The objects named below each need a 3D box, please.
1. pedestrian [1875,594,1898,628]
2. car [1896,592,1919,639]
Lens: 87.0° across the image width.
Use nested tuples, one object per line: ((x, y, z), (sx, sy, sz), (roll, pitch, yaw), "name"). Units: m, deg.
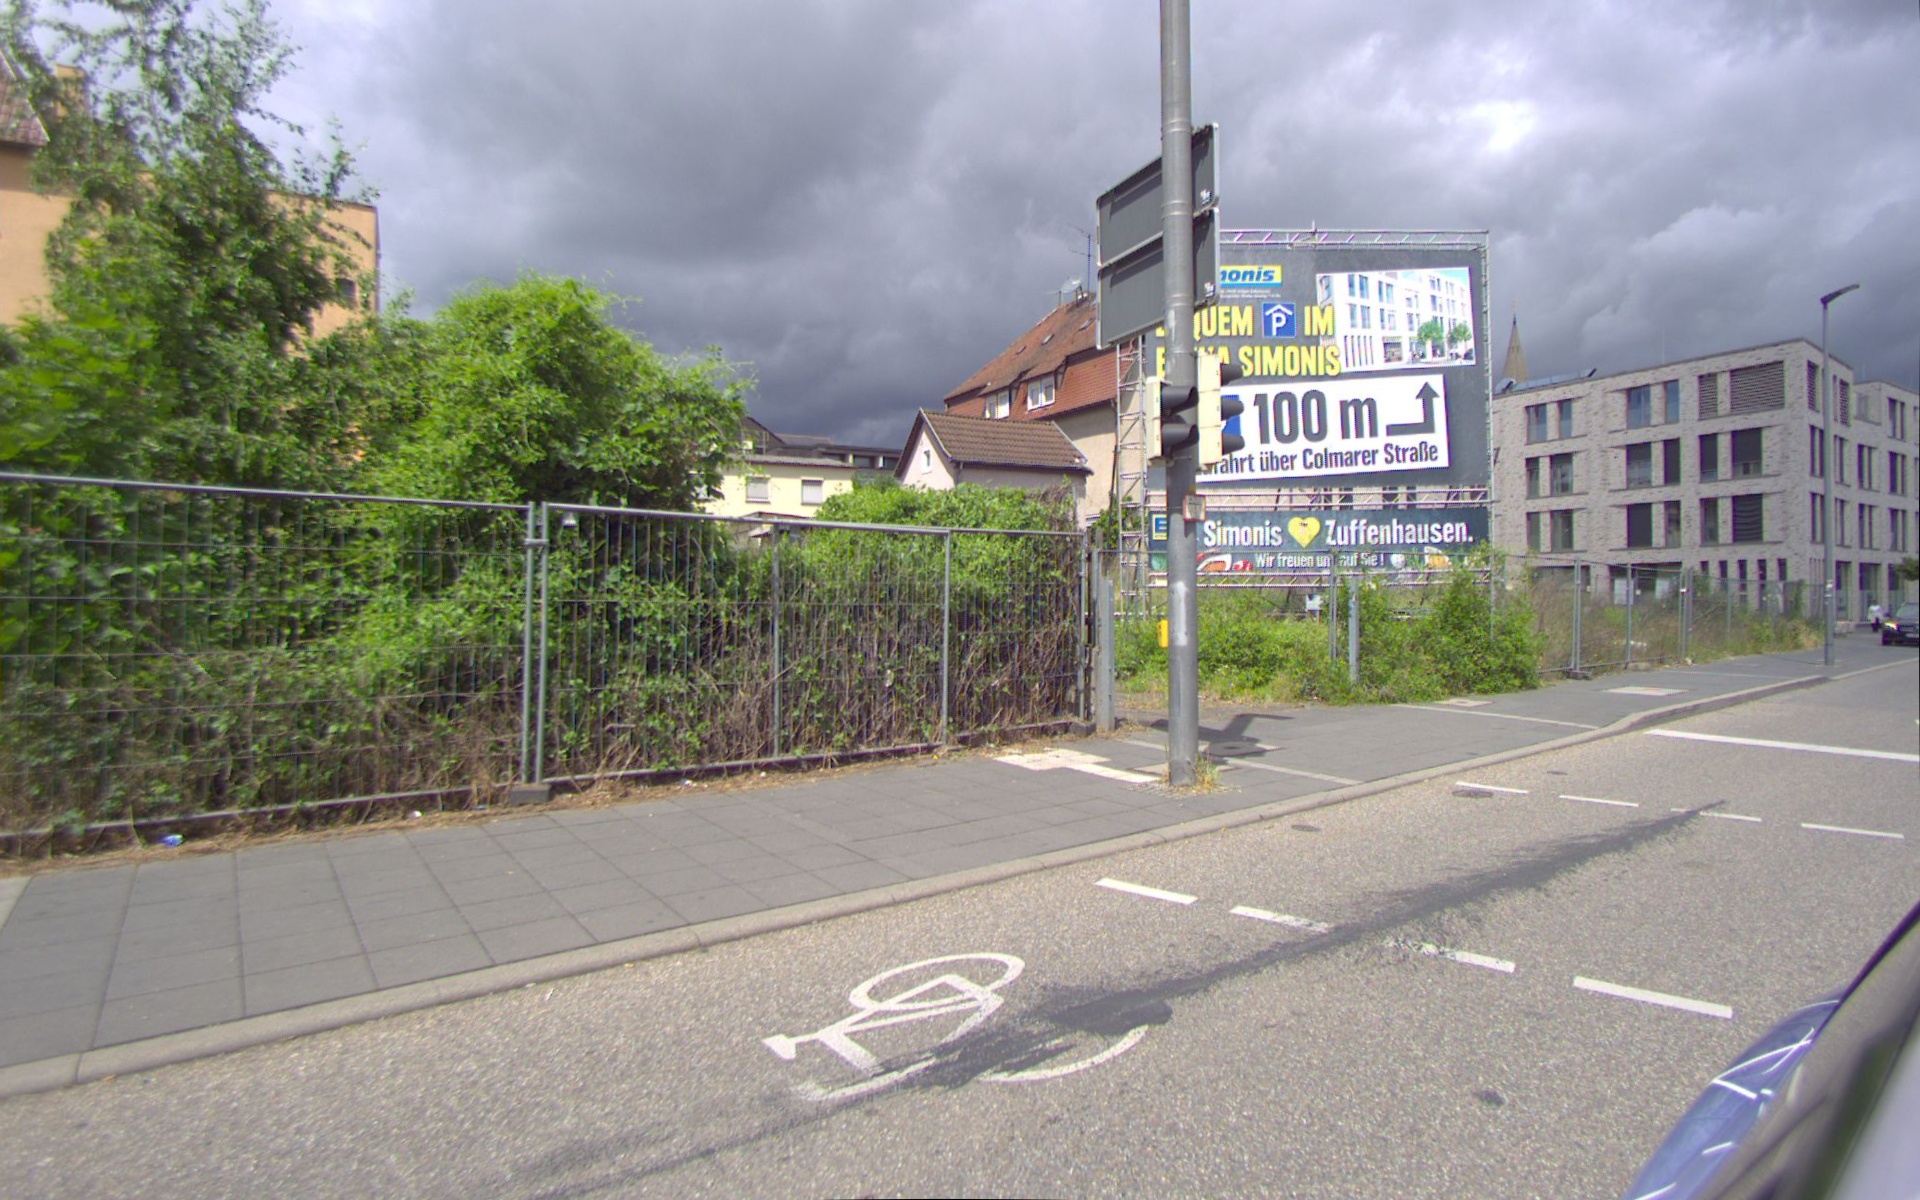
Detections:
((42.059, 0.483, 45.929), (0.769, 1.531, 0.673), (1, 0, -40), "pedestrian")
((32.671, 0.510, 33.659), (3.726, 1.441, 1.678), (-1, 2, -38), "car")
